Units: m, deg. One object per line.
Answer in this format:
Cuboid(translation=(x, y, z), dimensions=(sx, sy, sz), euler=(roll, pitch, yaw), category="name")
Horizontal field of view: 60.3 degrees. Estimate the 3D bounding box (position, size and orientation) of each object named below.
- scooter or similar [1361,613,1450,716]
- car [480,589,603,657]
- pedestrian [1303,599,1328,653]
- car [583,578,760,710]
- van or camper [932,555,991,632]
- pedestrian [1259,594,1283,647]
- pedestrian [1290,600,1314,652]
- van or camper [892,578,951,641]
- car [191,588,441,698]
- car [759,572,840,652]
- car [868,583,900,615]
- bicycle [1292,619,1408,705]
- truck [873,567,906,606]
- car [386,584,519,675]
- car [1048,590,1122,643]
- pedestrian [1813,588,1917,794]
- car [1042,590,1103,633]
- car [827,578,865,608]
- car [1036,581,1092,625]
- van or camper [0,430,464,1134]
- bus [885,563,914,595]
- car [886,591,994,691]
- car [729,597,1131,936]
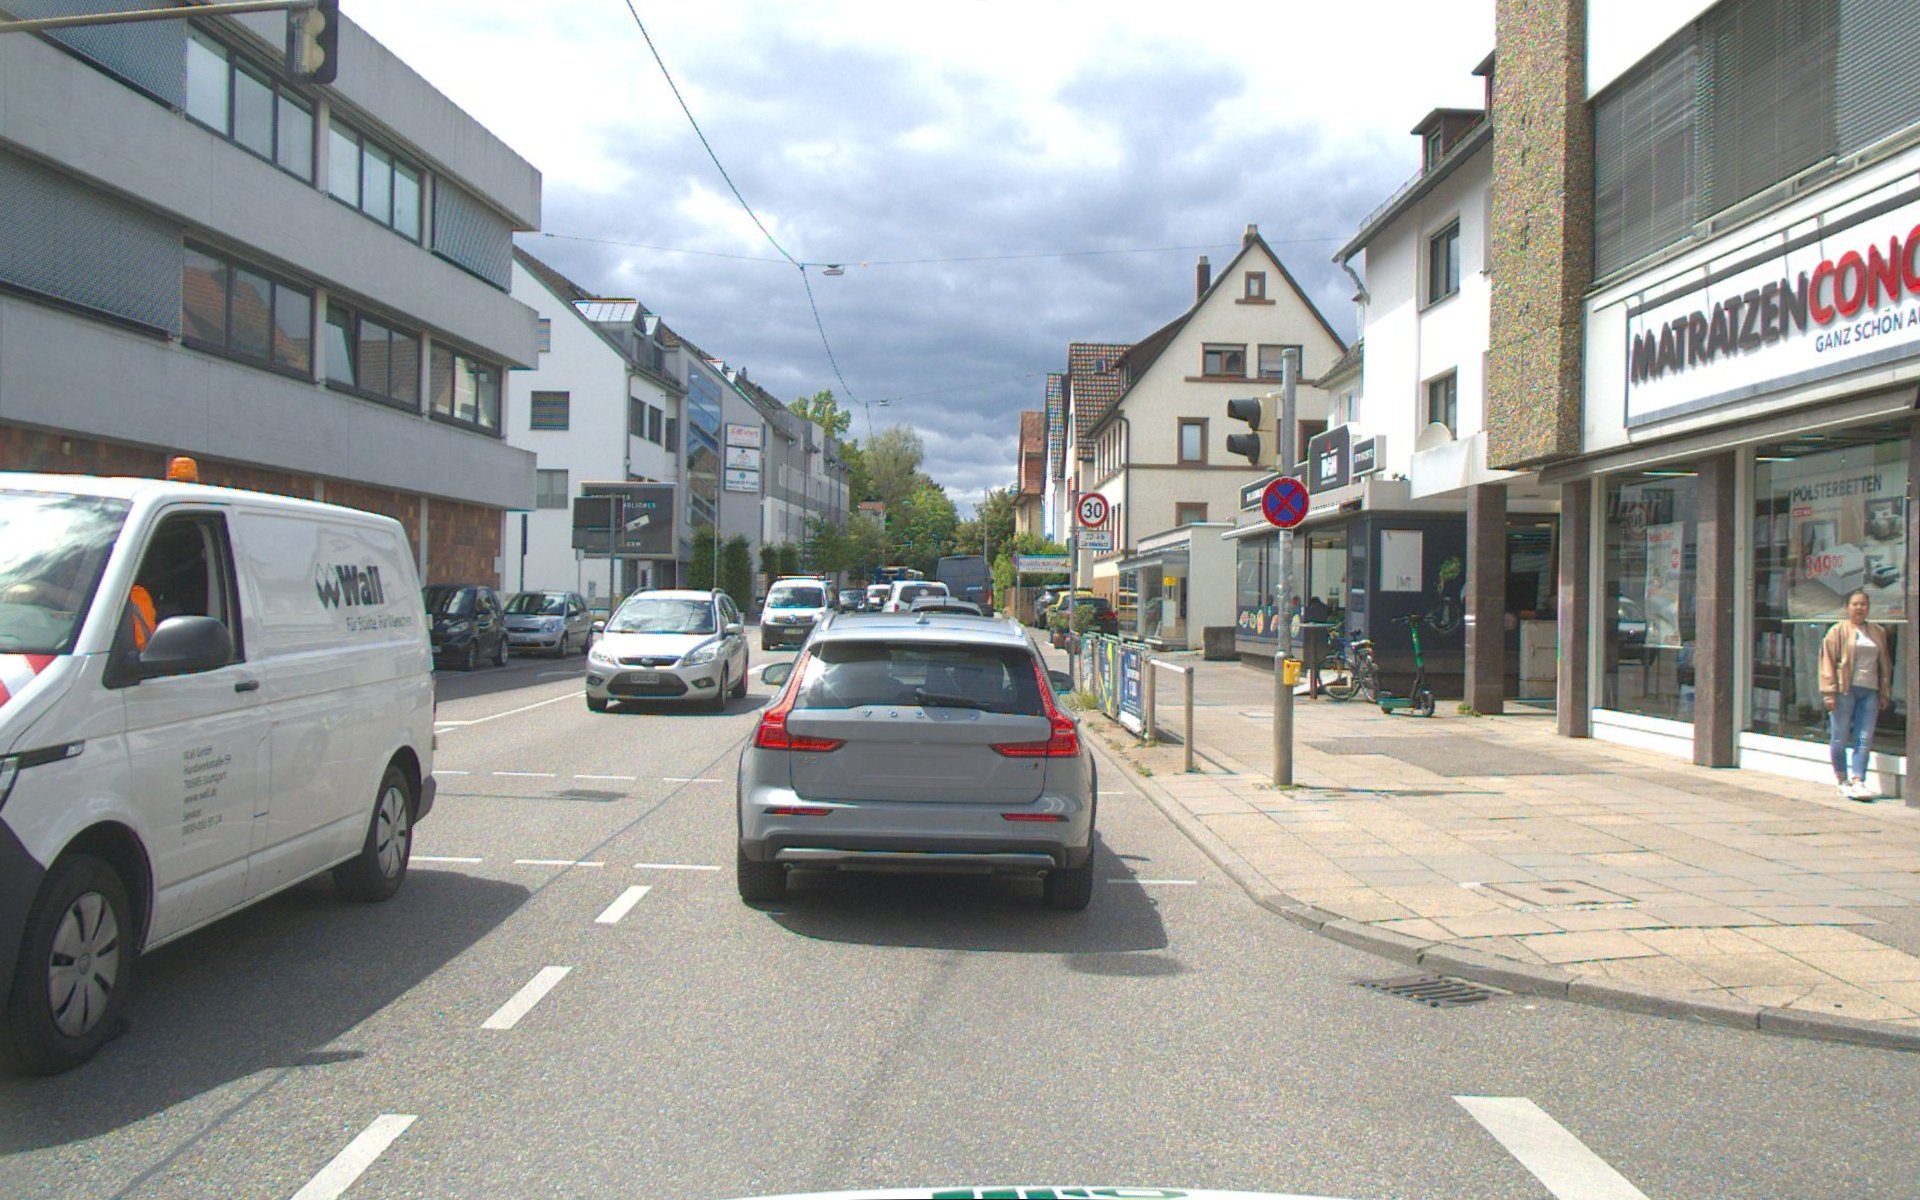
Cuboid(translation=(5.723, 0.816, 21.307), dimensions=(0.336, 1.275, 1.235), euler=(-2, 0, -27), category="scooter or similar")
Cuboid(translation=(-9.481, 0.490, 37.746), dimensions=(1.719, 1.451, 3.863), euler=(0, 1, 1), category="car")
Cuboid(translation=(7.095, 0.518, 33.028), dimensions=(0.406, 1.070, 0.367), euler=(0, 0, -3), category="pedestrian")
Cuboid(translation=(-3.766, 0.527, 22.253), dimensions=(1.634, 1.581, 4.214), euler=(1, 0, 0), category="car")
Cuboid(translation=(0.044, -0.255, 60.884), dimensions=(2.080, 2.733, 4.781), euler=(0, 0, 0), category="van or camper")
Cuboid(translation=(6.336, 0.416, 33.657), dimensions=(0.406, 1.070, 0.367), euler=(0, 0, -3), category="pedestrian")
Cuboid(translation=(7.046, 0.538, 34.077), dimensions=(0.406, 1.070, 0.367), euler=(0, 0, -3), category="pedestrian")
Cuboid(translation=(-1.218, 0.343, 52.012), dimensions=(1.782, 1.867, 3.998), euler=(1, -2, -2), category="van or camper")
Cuboid(translation=(-9.731, 0.582, 25.408), dimensions=(1.864, 1.468, 4.445), euler=(2, 1, 3), category="car")
Cuboid(translation=(-4.193, 0.307, 43.811), dimensions=(1.801, 1.951, 4.154), euler=(1, 0, -2), category="car")
Cuboid(translation=(-4.686, -0.034, 102.727), dimensions=(1.761, 1.848, 3.999), euler=(1, -1, 0), category="car")
Cuboid(translation=(5.698, 0.879, 24.298), dimensions=(0.546, 1.164, 2.288), euler=(0, 0, -19), category="bicycle")
Cuboid(translation=(-5.400, -1.046, 127.627), dimensions=(2.229, 2.937, 7.078), euler=(0, 0, 0), category="truck")
Cuboid(translation=(-9.547, 0.512, 31.312), dimensions=(1.575, 1.570, 2.944), euler=(2, 1, 0), category="car")
Cuboid(translation=(3.673, 0.513, 49.322), dimensions=(1.676, 1.490, 3.997), euler=(1, -1, -3), category="car")
Cuboid(translation=(6.704, 0.662, 12.270), dimensions=(0.493, 1.484, 0.500), euler=(-2, -1, 12), category="pedestrian")
Cuboid(translation=(3.964, 0.426, 58.806), dimensions=(1.844, 1.440, 3.970), euler=(1, -1, 0), category="car")
Cuboid(translation=(-5.720, -0.379, 83.080), dimensions=(1.727, 1.451, 3.999), euler=(0, 1, -2), category="car")
Cuboid(translation=(3.919, 0.139, 62.922), dimensions=(1.844, 1.526, 3.970), euler=(1, -1, 0), category="car")
Cuboid(translation=(-3.583, 0.442, 6.651), dimensions=(1.827, 1.931, 4.691), euler=(1, 1, -1), category="van or camper")
Cuboid(translation=(-5.233, -1.856, 144.204), dimensions=(2.229, 2.715, 7.429), euler=(0, 1, 0), category="bus")
Cuboid(translation=(-0.356, 0.634, 27.249), dimensions=(1.617, 1.508, 3.606), euler=(1, 0, -2), category="car")
Cuboid(translation=(-0.188, 0.756, 9.494), dimensions=(1.799, 1.512, 3.999), euler=(1, 0, -2), category="car")
